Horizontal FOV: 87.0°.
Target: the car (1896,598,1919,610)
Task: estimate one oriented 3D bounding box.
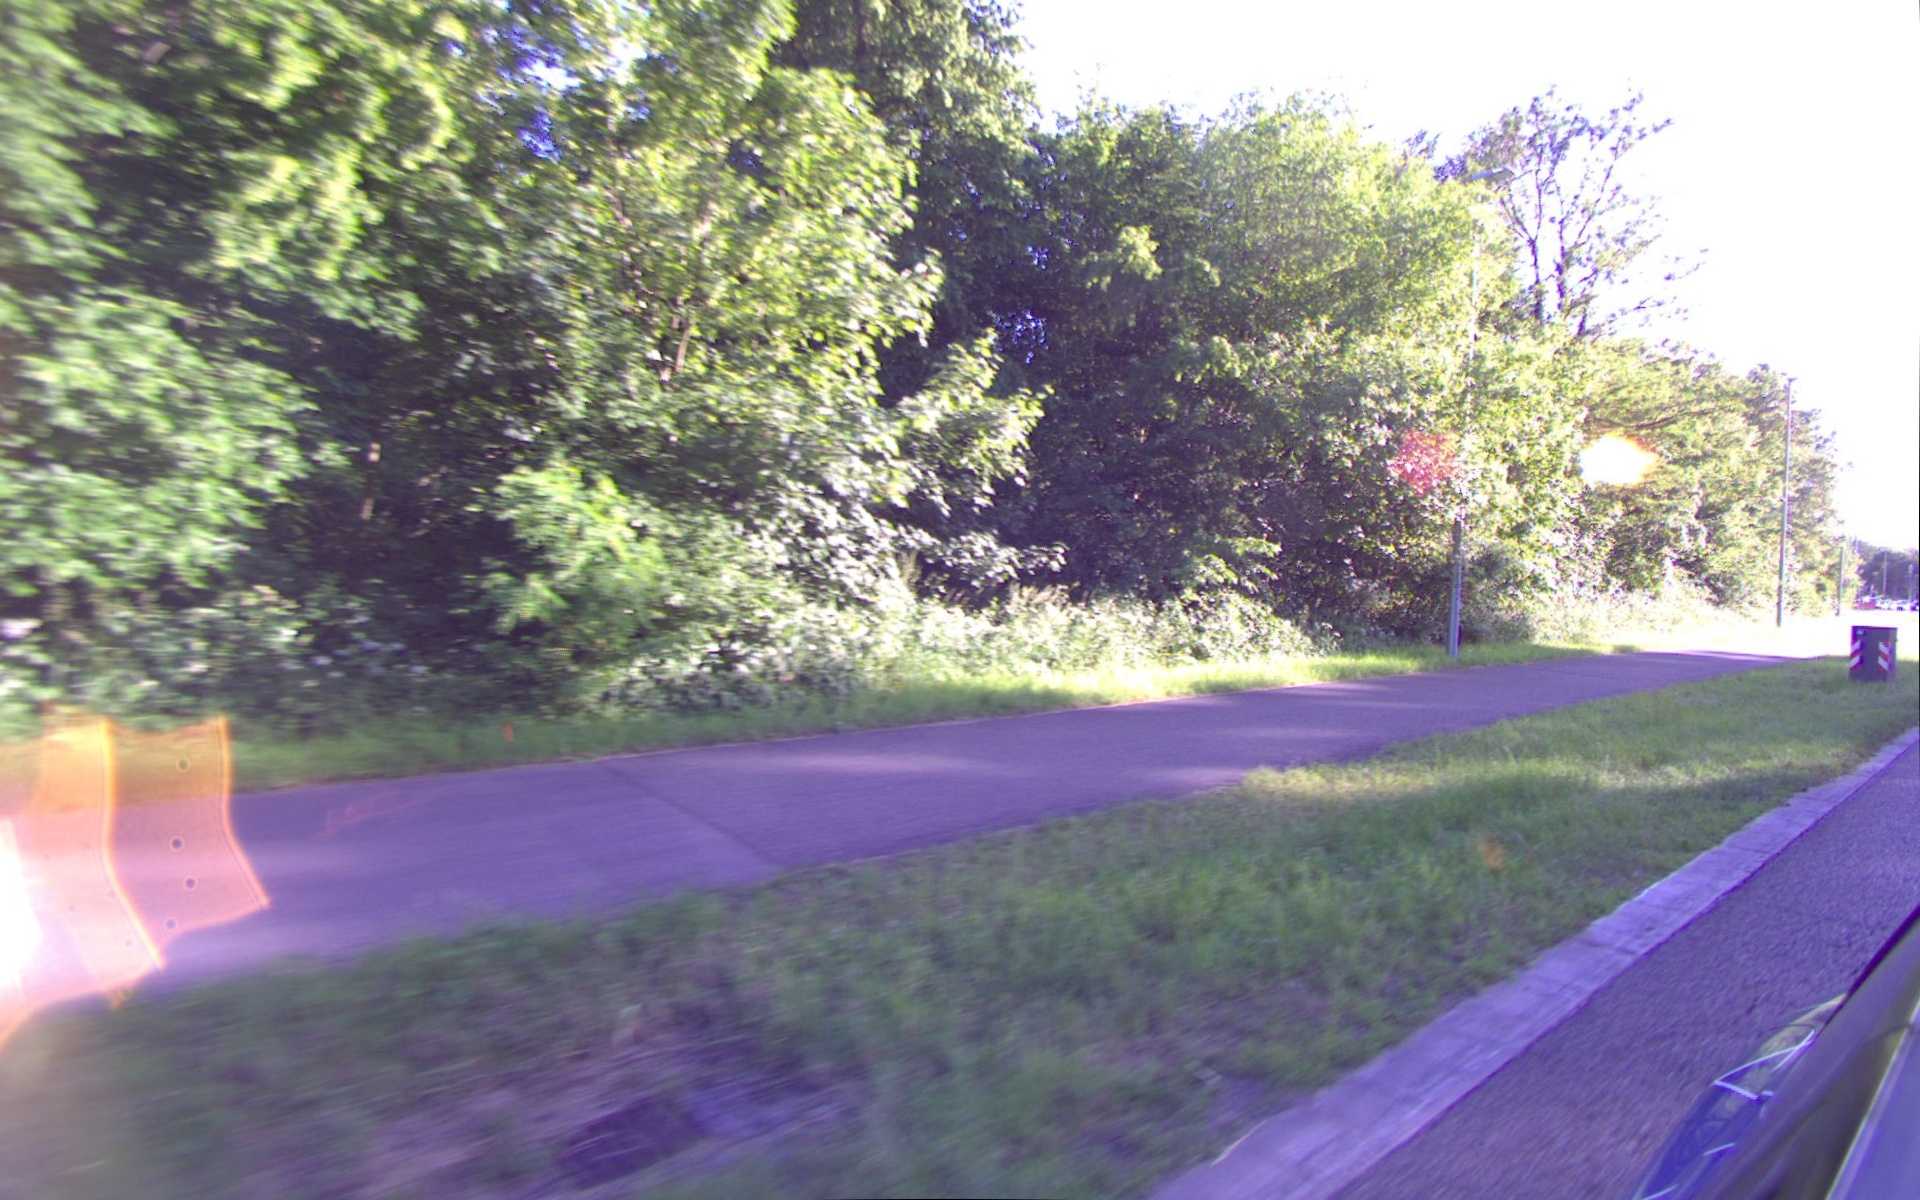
[{"bbox_3d":[135.840,0.515,145.115,1.990,1.537,3.946,2,3,38],"label":"car"}]
